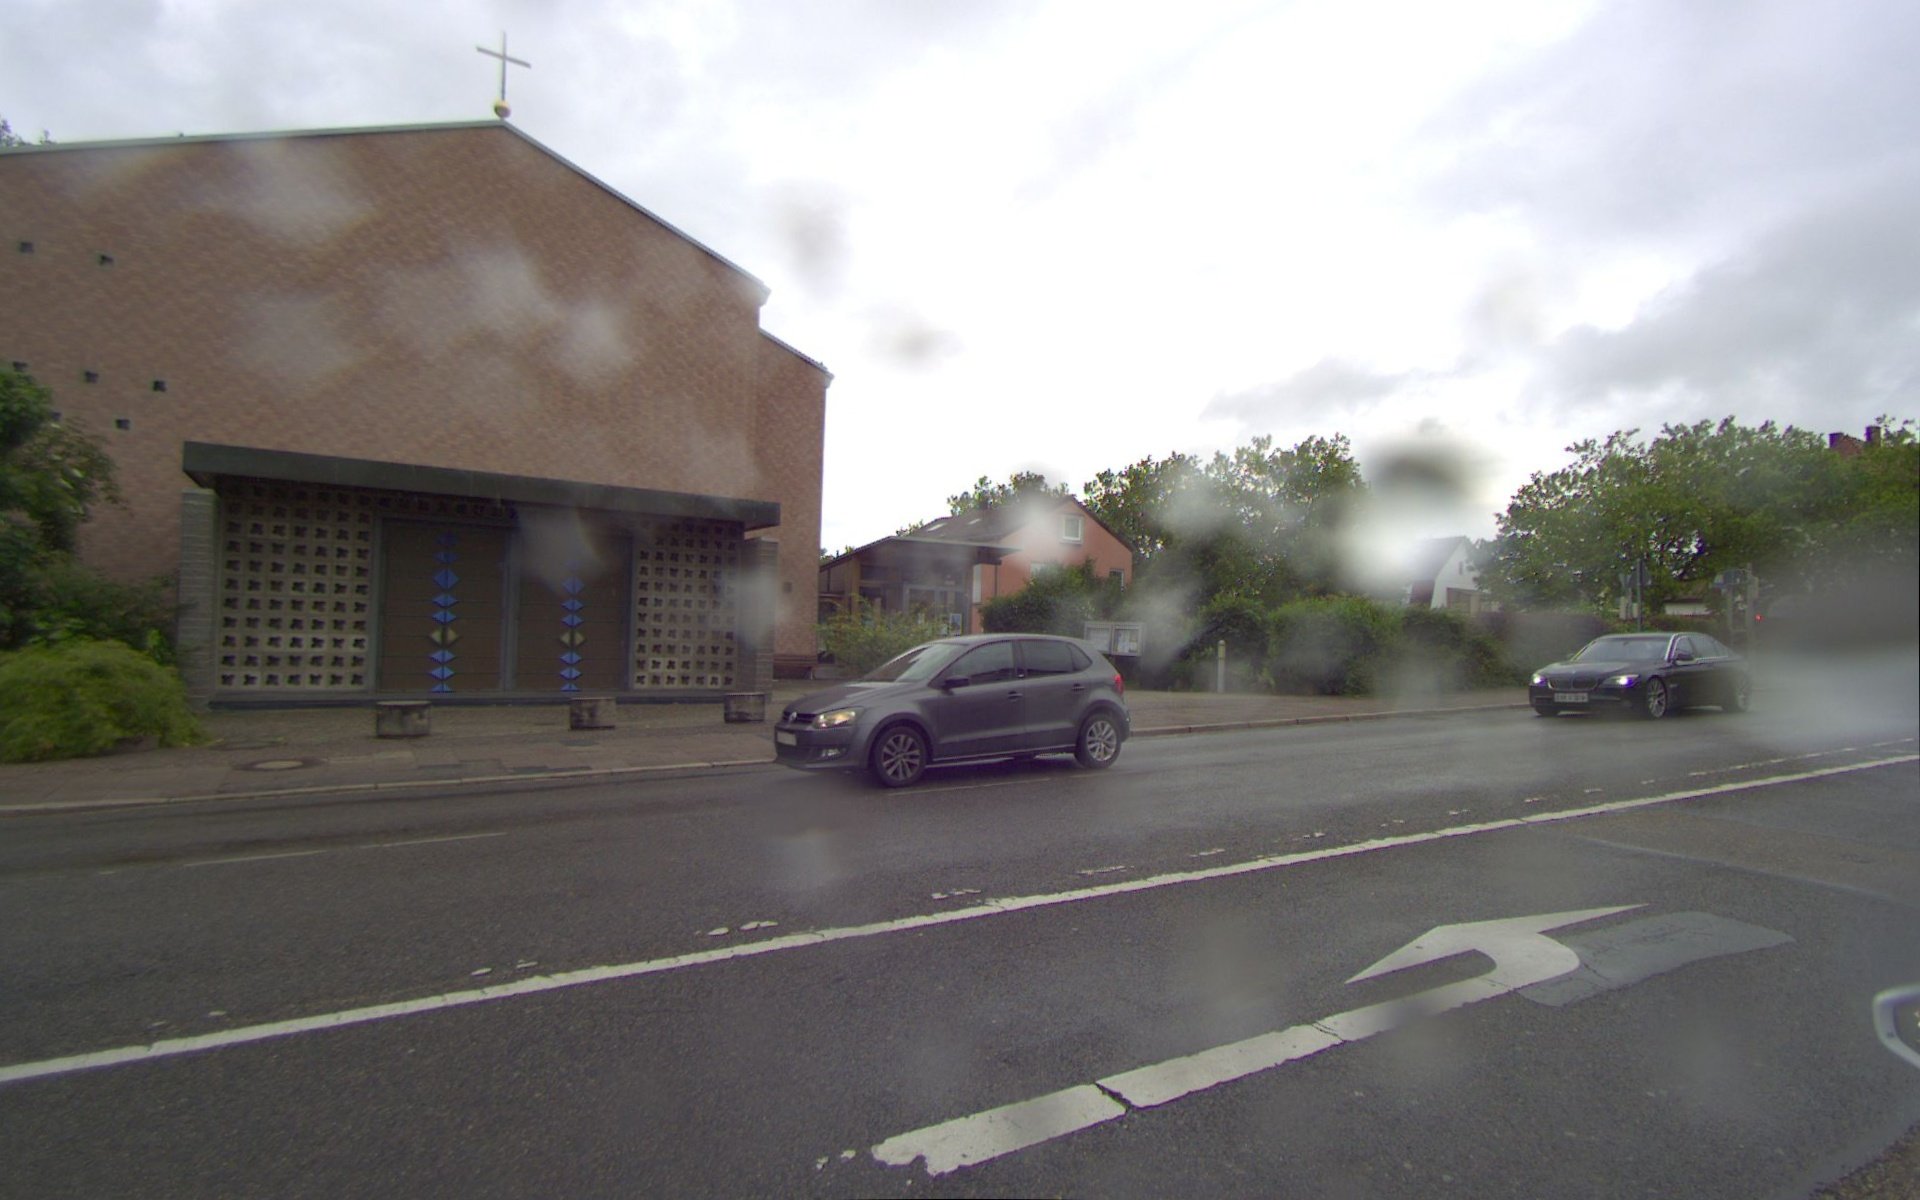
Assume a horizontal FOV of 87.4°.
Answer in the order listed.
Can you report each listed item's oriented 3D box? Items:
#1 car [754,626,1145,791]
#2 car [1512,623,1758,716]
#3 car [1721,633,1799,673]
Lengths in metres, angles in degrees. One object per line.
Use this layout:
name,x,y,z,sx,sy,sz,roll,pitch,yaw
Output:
car,-0.044,1.019,10.525,3.863,1.447,1.586,1,-3,-33
car,12.263,1.248,18.155,4.896,1.472,1.900,2,-6,-33
car,38.994,2.533,48.949,3.955,1.573,1.798,-3,2,-32
